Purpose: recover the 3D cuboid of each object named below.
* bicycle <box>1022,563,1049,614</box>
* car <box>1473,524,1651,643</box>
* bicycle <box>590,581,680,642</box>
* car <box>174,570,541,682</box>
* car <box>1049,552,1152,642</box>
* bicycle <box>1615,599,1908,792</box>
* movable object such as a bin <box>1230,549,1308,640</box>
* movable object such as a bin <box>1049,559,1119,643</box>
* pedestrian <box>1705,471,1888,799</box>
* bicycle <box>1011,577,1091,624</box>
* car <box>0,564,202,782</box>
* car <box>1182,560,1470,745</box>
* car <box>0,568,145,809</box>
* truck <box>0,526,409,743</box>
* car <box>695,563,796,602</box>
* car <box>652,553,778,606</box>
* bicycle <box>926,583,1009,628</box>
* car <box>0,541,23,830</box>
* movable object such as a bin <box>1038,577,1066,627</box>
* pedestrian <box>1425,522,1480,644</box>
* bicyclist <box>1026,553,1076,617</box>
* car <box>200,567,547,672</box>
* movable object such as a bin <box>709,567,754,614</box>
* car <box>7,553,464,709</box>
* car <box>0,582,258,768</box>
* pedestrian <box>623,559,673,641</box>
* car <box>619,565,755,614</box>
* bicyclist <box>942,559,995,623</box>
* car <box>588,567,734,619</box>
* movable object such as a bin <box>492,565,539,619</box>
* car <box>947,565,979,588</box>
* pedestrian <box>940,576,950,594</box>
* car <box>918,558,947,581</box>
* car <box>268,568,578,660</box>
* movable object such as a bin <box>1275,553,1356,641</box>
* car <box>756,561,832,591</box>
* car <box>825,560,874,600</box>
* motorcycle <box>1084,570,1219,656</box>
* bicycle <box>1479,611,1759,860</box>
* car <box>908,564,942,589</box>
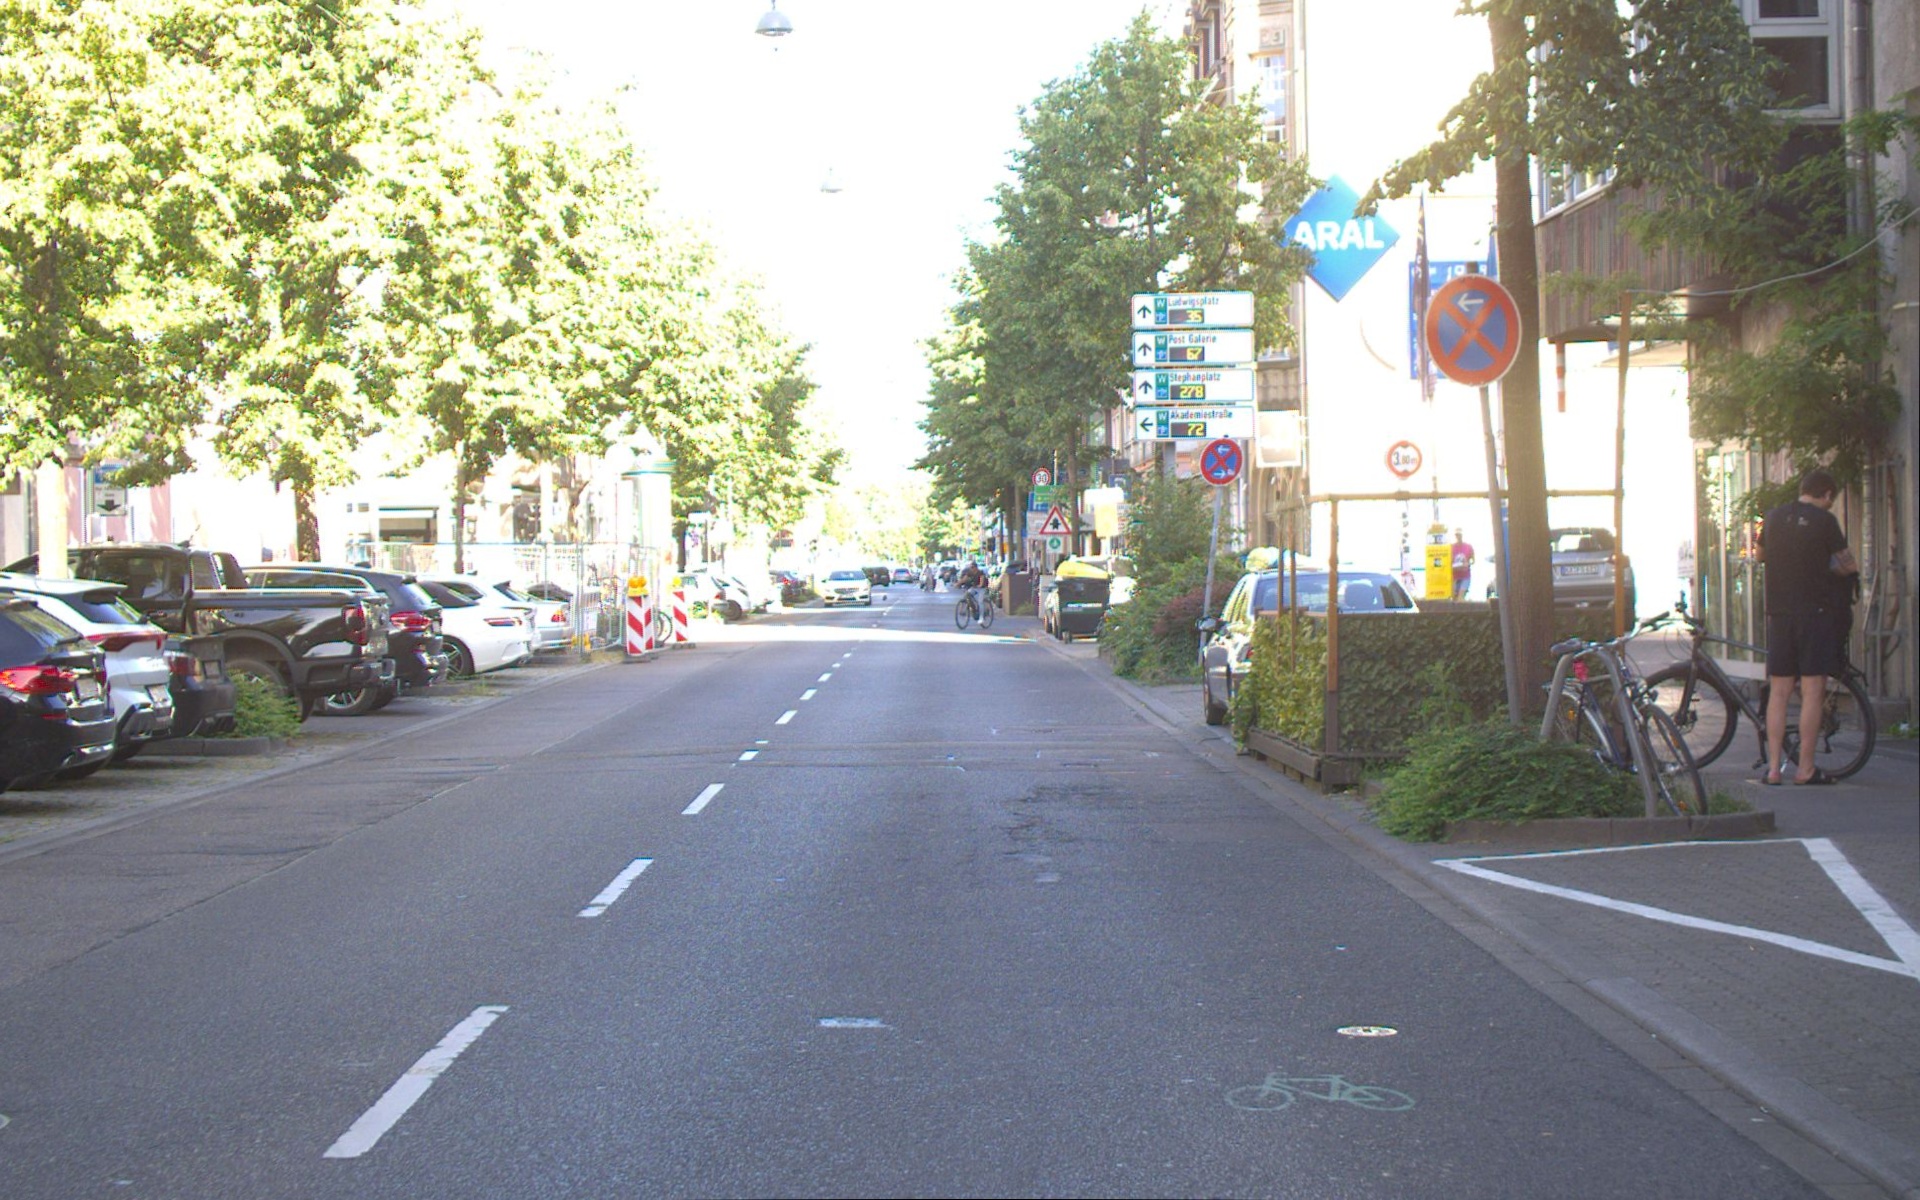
[{"bbox_3d":[2.234,-0.342,101.902,0.560,1.436,1.628,-7,1,-1],"label":"bicycle"},{"bbox_3d":[8.865,-0.263,50.935,1.901,1.642,4.293,-1,1,1],"label":"car"},{"bbox_3d":[-6.792,0.242,71.835,1.854,1.248,0.600,0,1,-8],"label":"bicycle"},{"bbox_3d":[-8.050,0.335,46.236,4.680,1.460,1.808,0,0,-3],"label":"car"},{"bbox_3d":[2.821,-0.077,70.054,1.822,1.673,4.601,-3,1,0],"label":"car"},{"bbox_3d":[5.005,0.575,21.534,0.680,1.145,1.684,-1,1,-42],"label":"bicycle"},{"bbox_3d":[5.666,-0.114,63.168,1.205,1.622,1.498,-1,1,-2],"label":"movable object such as a bin"},{"bbox_3d":[2.377,0.017,65.738,1.143,1.557,1.459,-1,1,8],"label":"movable object such as a bin"},{"bbox_3d":[5.060,0.205,20.778,0.926,1.929,0.760,-1,1,25],"label":"pedestrian"},{"bbox_3d":[2.444,0.008,92.378,2.028,1.215,0.721,-1,1,-18],"label":"bicycle"},{"bbox_3d":[-8.201,0.524,25.640,4.680,1.566,1.808,0,0,1],"label":"car"},{"bbox_3d":[3.091,0.399,29.938,1.901,1.407,4.647,-2,1,-1],"label":"car"},{"bbox_3d":[-7.929,0.556,22.636,4.680,1.514,1.808,0,0,1],"label":"car"},{"bbox_3d":[-7.991,0.325,32.905,5.084,1.931,2.000,-1,1,-1],"label":"truck"},{"bbox_3d":[-8.701,-0.735,139.452,3.987,1.494,2.000,-1,1,-1],"label":"car"},{"bbox_3d":[-8.290,-0.706,116.681,3.987,1.688,2.000,-1,1,4],"label":"car"},{"bbox_3d":[0.195,0.136,84.604,1.949,1.055,0.769,-1,1,-37],"label":"bicycle"},{"bbox_3d":[-8.015,0.513,19.900,4.680,1.707,1.808,0,0,1],"label":"car"},{"bbox_3d":[2.216,0.044,82.856,0.621,1.176,0.711,-1,1,-3],"label":"movable object such as a bin"},{"bbox_3d":[7.538,-0.258,52.648,0.707,1.843,0.688,-1,0,1],"label":"pedestrian"},{"bbox_3d":[2.443,-0.401,92.378,1.153,1.687,0.721,-1,1,-18],"label":"bicyclist"},{"bbox_3d":[-8.294,0.266,48.923,4.680,1.460,1.808,0,0,-3],"label":"car"},{"bbox_3d":[-7.343,-0.303,110.449,1.334,1.473,1.480,-1,1,-1],"label":"movable object such as a bin"},{"bbox_3d":[-7.990,0.332,38.183,4.680,1.687,1.808,0,0,1],"label":"car"},{"bbox_3d":[-8.243,0.588,27.960,4.680,1.458,1.808,0,0,1],"label":"car"},{"bbox_3d":[-6.583,-0.003,72.509,0.792,1.702,0.767,0,1,-33],"label":"pedestrian"},{"bbox_3d":[-8.221,-0.336,103.771,3.987,1.385,2.000,-1,1,-1],"label":"car"},{"bbox_3d":[0.208,-0.228,84.596,1.037,1.555,0.769,-1,1,-37],"label":"bicyclist"},{"bbox_3d":[-8.503,-0.210,97.985,3.987,1.385,2.000,-1,1,-1],"label":"car"},{"bbox_3d":[-12.547,-0.226,97.010,1.171,1.480,1.315,-1,1,-2],"label":"movable object such as a bin"},{"bbox_3d":[0.176,-1.514,222.551,1.993,1.503,4.000,0,0,-1],"label":"car"},{"bbox_3d":[-0.887,-0.879,198.868,0.545,1.023,0.546,-1,0,-2],"label":"pedestrian"},{"bbox_3d":[-1.763,-1.943,220.744,1.792,1.406,4.000,-1,1,-1],"label":"car"},{"bbox_3d":[-8.422,0.211,54.203,4.680,1.407,1.808,0,0,-3],"label":"car"},{"bbox_3d":[6.384,-0.062,61.801,1.270,1.525,1.177,-1,0,-2],"label":"movable object such as a bin"},{"bbox_3d":[-8.892,-1.284,184.420,3.987,1.494,2.000,-1,1,-1],"label":"car"},{"bbox_3d":[-4.305,-0.796,134.461,1.802,1.430,4.410,-3,1,-1],"label":"car"},{"bbox_3d":[3.079,0.197,55.402,1.977,1.325,0.912,-1,1,-12],"label":"motorcycle"},{"bbox_3d":[3.362,0.662,17.743,0.607,1.116,2.056,-8,2,-9],"label":"bicycle"},{"bbox_3d":[-2.073,-1.375,202.038,1.822,1.386,4.301,-3,1,-1],"label":"car"}]
